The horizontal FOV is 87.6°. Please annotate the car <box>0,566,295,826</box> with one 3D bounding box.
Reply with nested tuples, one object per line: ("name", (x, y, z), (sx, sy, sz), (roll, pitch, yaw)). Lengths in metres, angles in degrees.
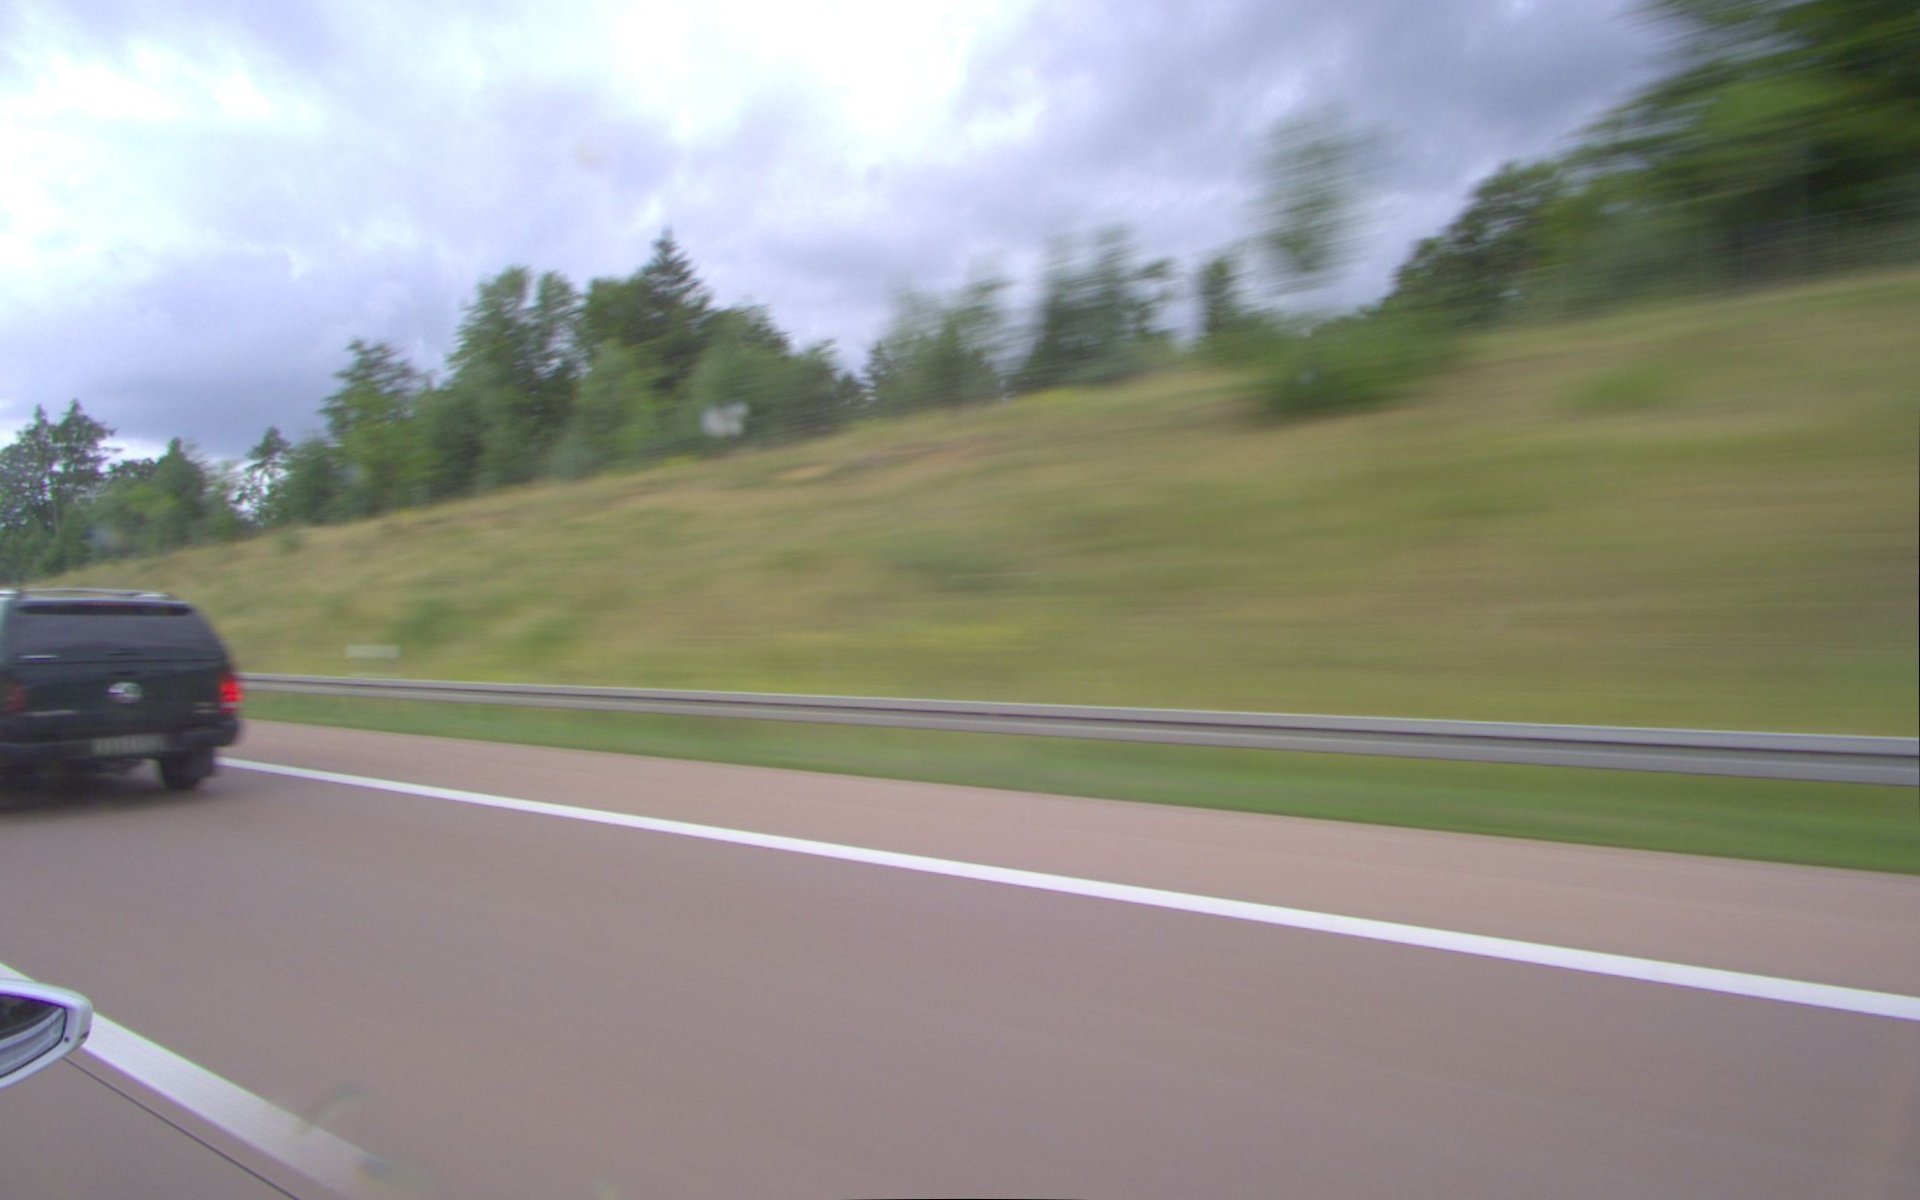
("car", (-8.891, 0.802, 9.734), (5.500, 1.921, 2.040), (-2, -1, 33))
